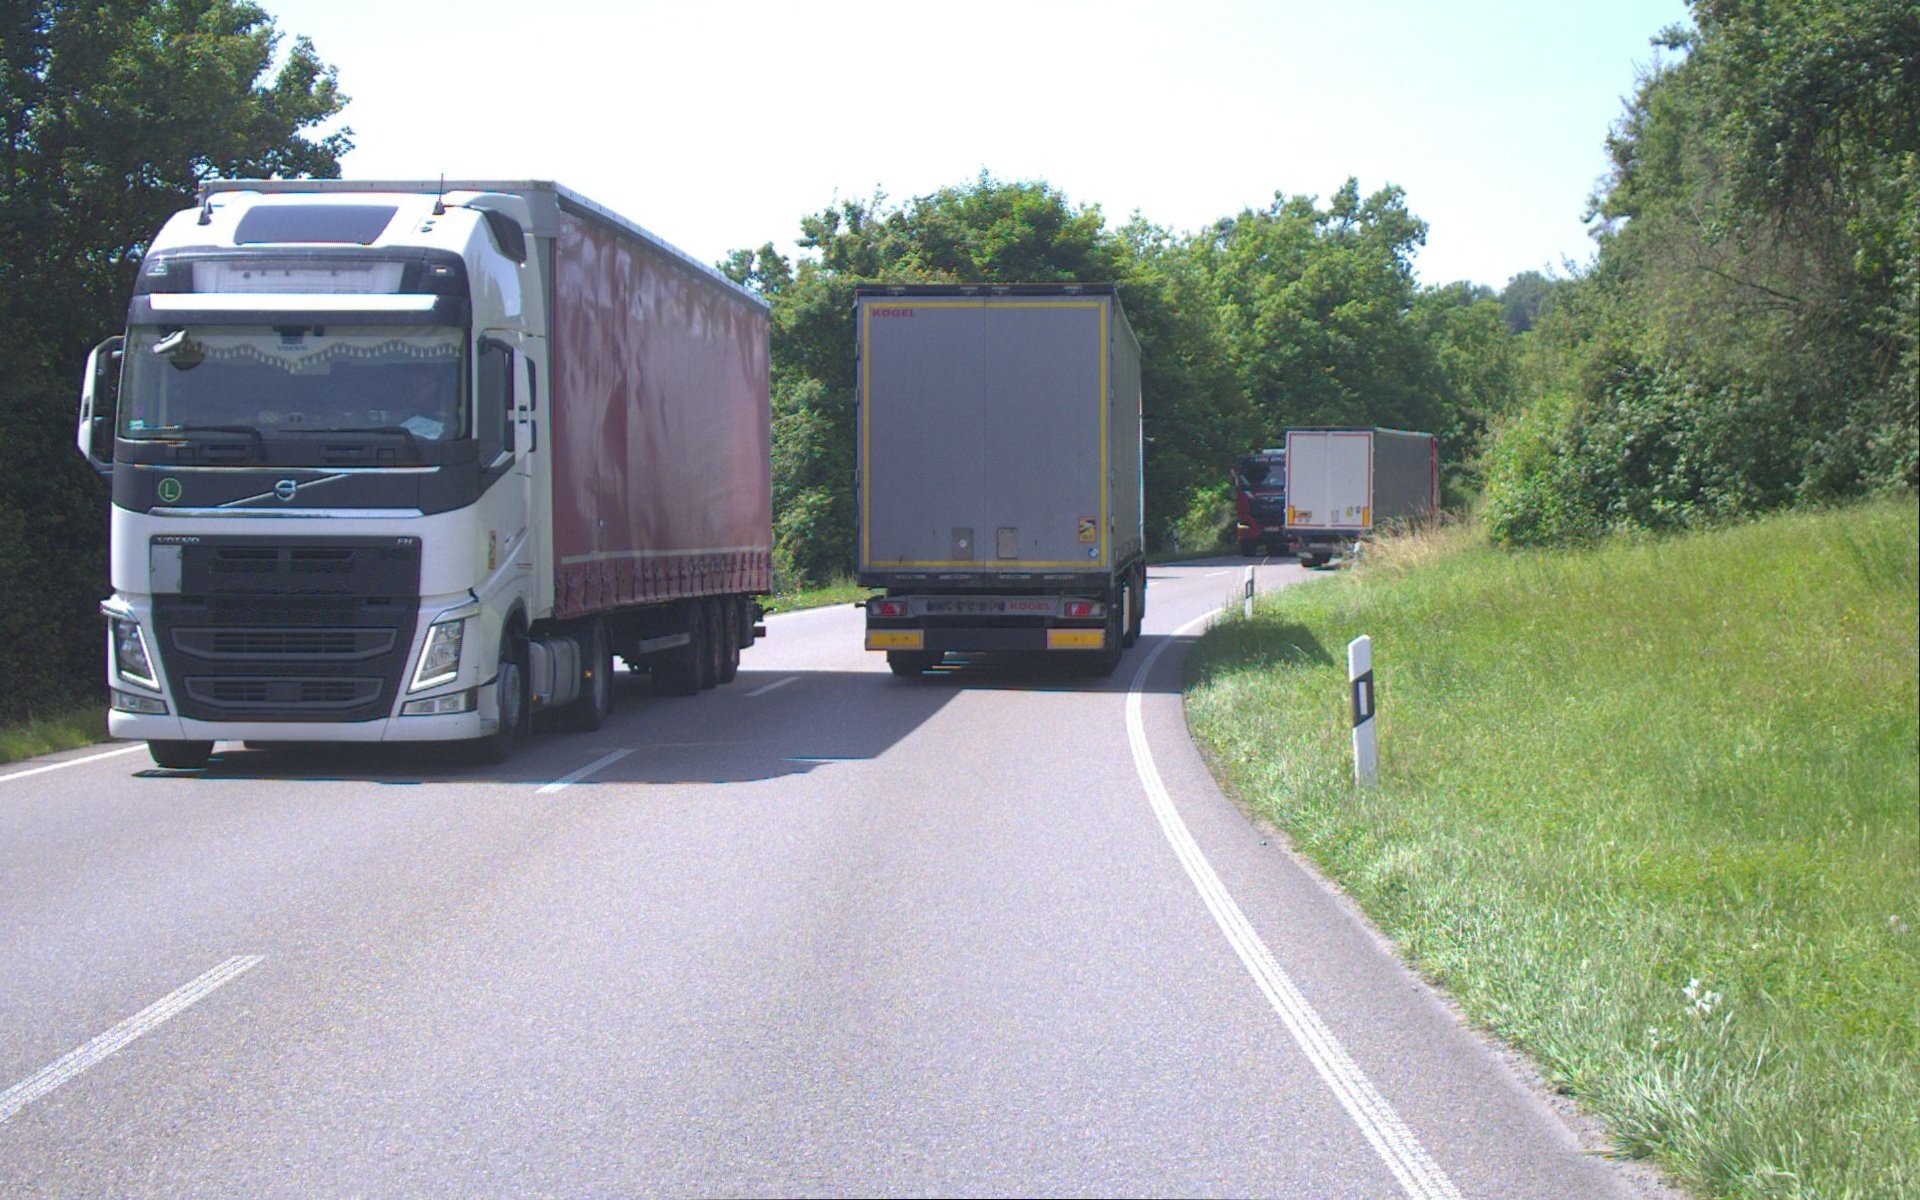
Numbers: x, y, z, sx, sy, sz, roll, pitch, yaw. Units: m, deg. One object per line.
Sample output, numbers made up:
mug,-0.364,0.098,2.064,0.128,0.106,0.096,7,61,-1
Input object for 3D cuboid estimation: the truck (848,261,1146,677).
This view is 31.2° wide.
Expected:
truck,0.774,-1.410,41.259,2.802,4.054,15.324,0,1,4

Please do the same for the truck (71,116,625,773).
truck,-4.122,-1.033,24.452,2.559,4.101,5.799,0,1,4

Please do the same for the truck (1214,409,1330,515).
truck,11.025,-4.738,120.470,2.554,3.440,12.628,0,1,12

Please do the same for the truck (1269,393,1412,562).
truck,11.745,-3.838,104.689,3.106,4.689,16.584,-1,3,10

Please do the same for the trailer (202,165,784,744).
trailer,-3.669,-1.173,31.205,2.568,4.094,13.661,0,1,4
